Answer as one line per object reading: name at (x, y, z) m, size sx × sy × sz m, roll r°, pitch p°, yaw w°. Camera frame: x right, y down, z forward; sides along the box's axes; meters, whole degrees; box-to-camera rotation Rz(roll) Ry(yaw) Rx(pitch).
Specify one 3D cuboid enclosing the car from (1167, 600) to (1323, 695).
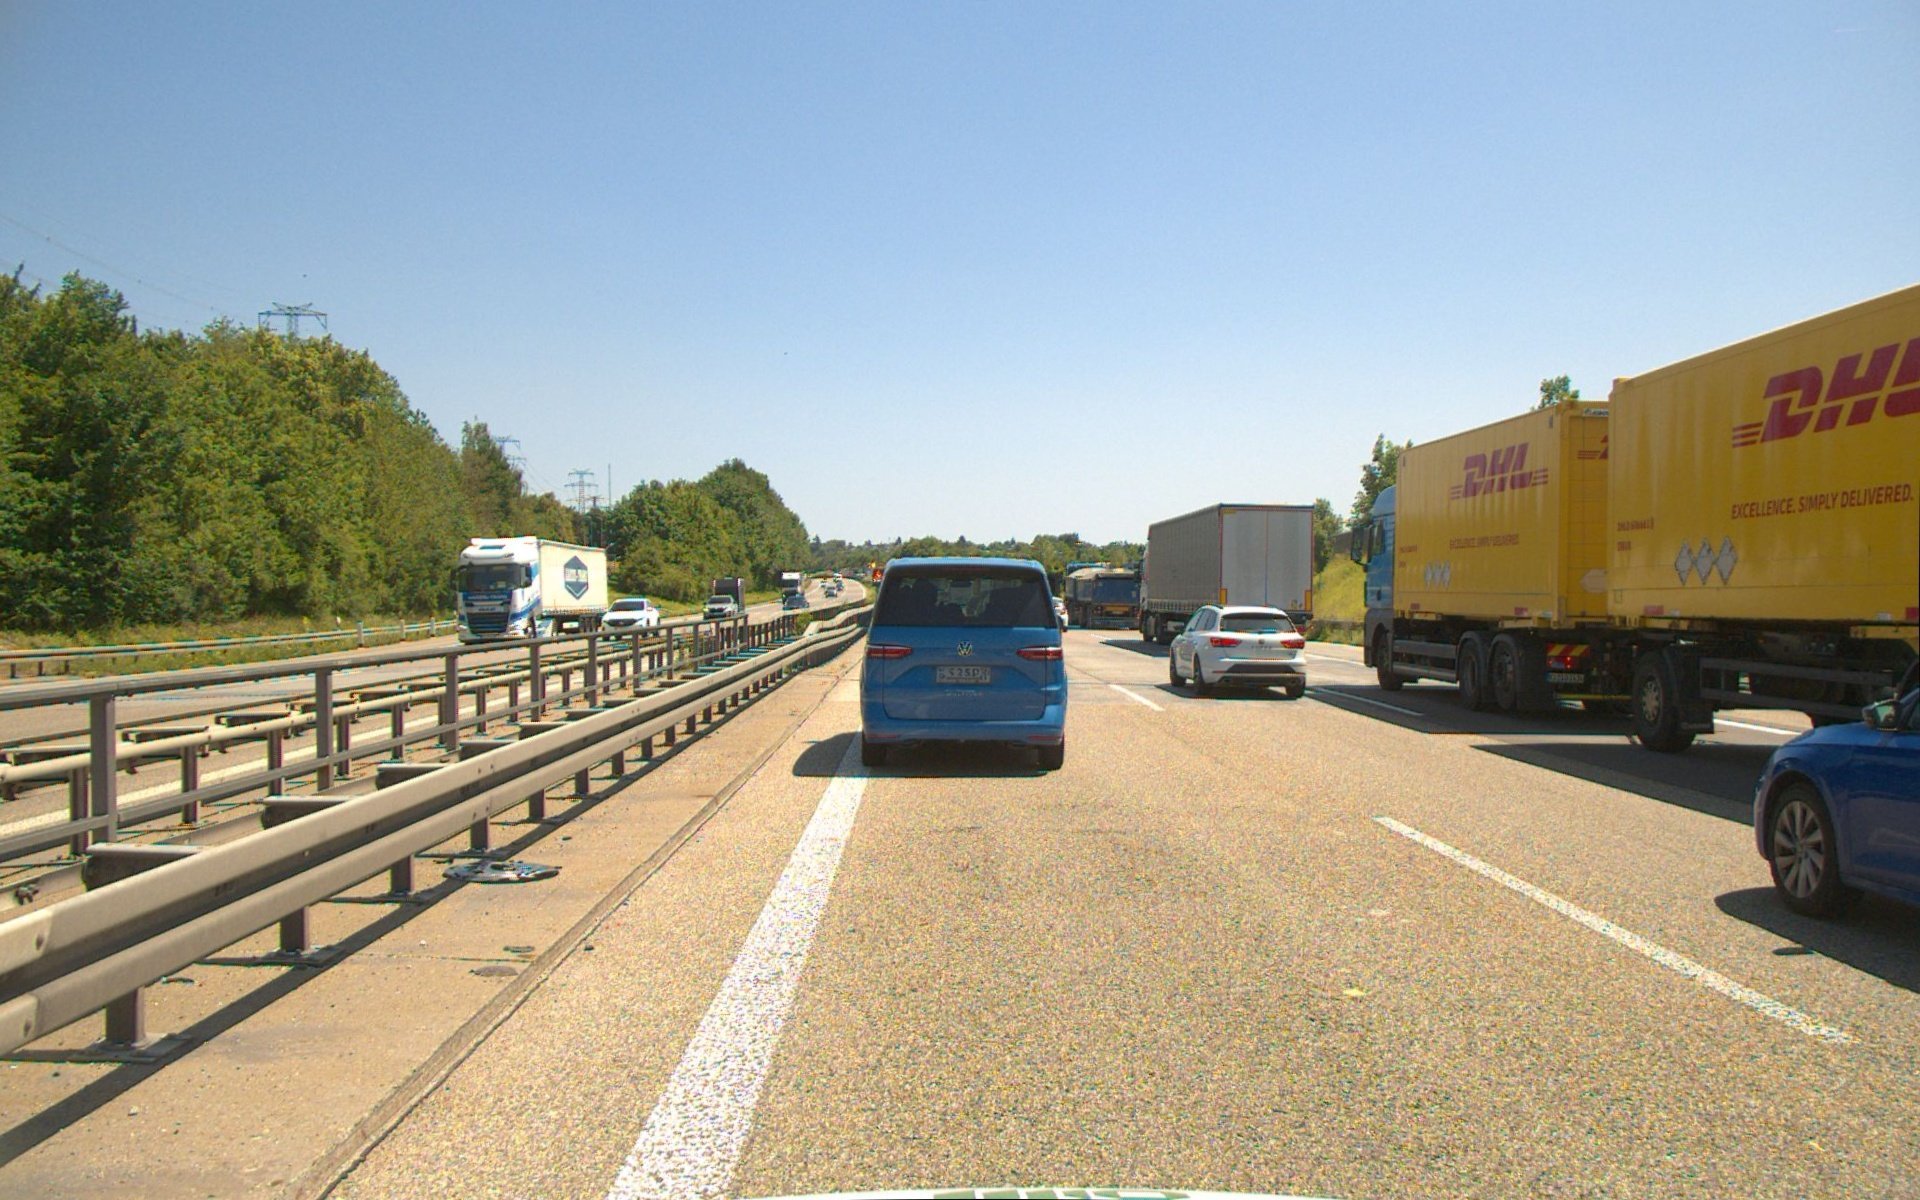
car at (4.598, 0.718, 27.212) m, size 1.829 × 1.385 × 4.000 m, roll 1°, pitch 0°, yaw 0°

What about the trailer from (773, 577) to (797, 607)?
trailer at (-24.405, -1.191, 230.912) m, size 2.701 × 4.045 × 6.130 m, roll -2°, pitch 1°, yaw -2°

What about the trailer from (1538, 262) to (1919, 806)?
trailer at (8.686, -0.486, 16.018) m, size 2.709 × 4.189 × 9.375 m, roll 1°, pitch 0°, yaw -1°

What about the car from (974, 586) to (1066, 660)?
car at (1.331, 0.518, 38.023) m, size 1.833 × 1.579 × 3.998 m, roll 1°, pitch 0°, yaw -2°

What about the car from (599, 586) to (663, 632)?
car at (-13.183, 0.368, 66.517) m, size 1.713 × 1.726 × 4.384 m, roll -1°, pitch 0°, yaw -1°

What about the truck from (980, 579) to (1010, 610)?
truck at (2.239, -0.341, 106.540) m, size 1.690 × 1.890 × 3.998 m, roll 1°, pitch 0°, yaw -2°

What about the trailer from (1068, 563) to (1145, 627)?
trailer at (7.075, -0.307, 81.186) m, size 2.688 × 2.886 × 9.113 m, roll 1°, pitch 1°, yaw -2°

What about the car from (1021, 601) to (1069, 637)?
car at (3.679, 0.826, 72.040) m, size 1.803 × 1.480 × 3.999 m, roll 1°, pitch 0°, yaw 0°

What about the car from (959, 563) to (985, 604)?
car at (1.578, -2.239, 224.245) m, size 3.153 × 5.349 × 8.141 m, roll 1°, pitch -1°, yaw -2°

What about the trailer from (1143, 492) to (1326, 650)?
trailer at (7.965, -0.784, 50.261) m, size 2.902 × 4.120 × 13.747 m, roll 1°, pitch 0°, yaw -2°

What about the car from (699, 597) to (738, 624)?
car at (-15.029, 0.675, 102.998) m, size 1.833 × 1.654 × 4.628 m, roll 0°, pitch 0°, yaw -1°

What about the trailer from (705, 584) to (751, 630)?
trailer at (-15.100, 0.482, 107.949) m, size 2.122 × 2.825 × 5.375 m, roll -3°, pitch 0°, yaw -1°

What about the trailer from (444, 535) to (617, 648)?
trailer at (-17.944, -0.275, 70.534) m, size 3.908 × 4.309 × 14.036 m, roll -1°, pitch 0°, yaw -1°

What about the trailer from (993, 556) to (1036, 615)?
trailer at (5.053, -1.218, 155.244) m, size 3.572 × 5.226 × 13.075 m, roll 1°, pitch 0°, yaw 0°

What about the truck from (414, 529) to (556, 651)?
truck at (-17.817, -0.352, 62.384) m, size 3.925 × 4.302 × 4.857 m, roll -2°, pitch 0°, yaw -2°

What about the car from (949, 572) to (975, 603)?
car at (0.171, -1.257, 171.479) m, size 2.241 × 3.060 × 5.569 m, roll 1°, pitch 0°, yaw -4°

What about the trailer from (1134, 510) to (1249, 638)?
trailer at (7.793, -0.868, 56.468) m, size 2.865 × 4.114 × 6.409 m, roll 1°, pitch 0°, yaw -2°

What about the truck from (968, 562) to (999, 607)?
truck at (2.694, -1.723, 194.302) m, size 3.006 × 5.006 × 10.685 m, roll 1°, pitch 0°, yaw -2°

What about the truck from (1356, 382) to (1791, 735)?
truck at (8.579, -0.494, 24.874) m, size 2.709 × 4.181 × 9.951 m, roll 1°, pitch 0°, yaw -1°

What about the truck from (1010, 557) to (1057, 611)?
truck at (5.913, -1.252, 134.408) m, size 3.551 × 4.166 × 7.524 m, roll 1°, pitch 0°, yaw 1°

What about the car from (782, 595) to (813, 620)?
car at (-11.120, 0.531, 113.516) m, size 1.755 × 1.600 × 3.999 m, roll 1°, pitch 0°, yaw -1°

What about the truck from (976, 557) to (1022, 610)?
truck at (4.079, -1.621, 176.248) m, size 3.549 × 5.304 × 15.678 m, roll 1°, pitch 0°, yaw -3°

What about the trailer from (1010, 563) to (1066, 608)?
trailer at (5.875, -1.001, 127.305) m, size 3.572 × 3.133 × 15.771 m, roll 1°, pitch 0°, yaw 0°

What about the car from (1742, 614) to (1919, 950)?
car at (5.071, 0.814, 6.658) m, size 1.671 × 1.466 × 4.426 m, roll 1°, pitch 0°, yaw -1°

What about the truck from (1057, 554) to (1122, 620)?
truck at (6.857, -0.736, 88.517) m, size 2.688 × 3.369 × 7.131 m, roll 1°, pitch 1°, yaw -2°

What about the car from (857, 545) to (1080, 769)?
car at (0.060, 0.504, 16.115) m, size 1.863 × 1.870 × 3.999 m, roll 1°, pitch 0°, yaw 0°
